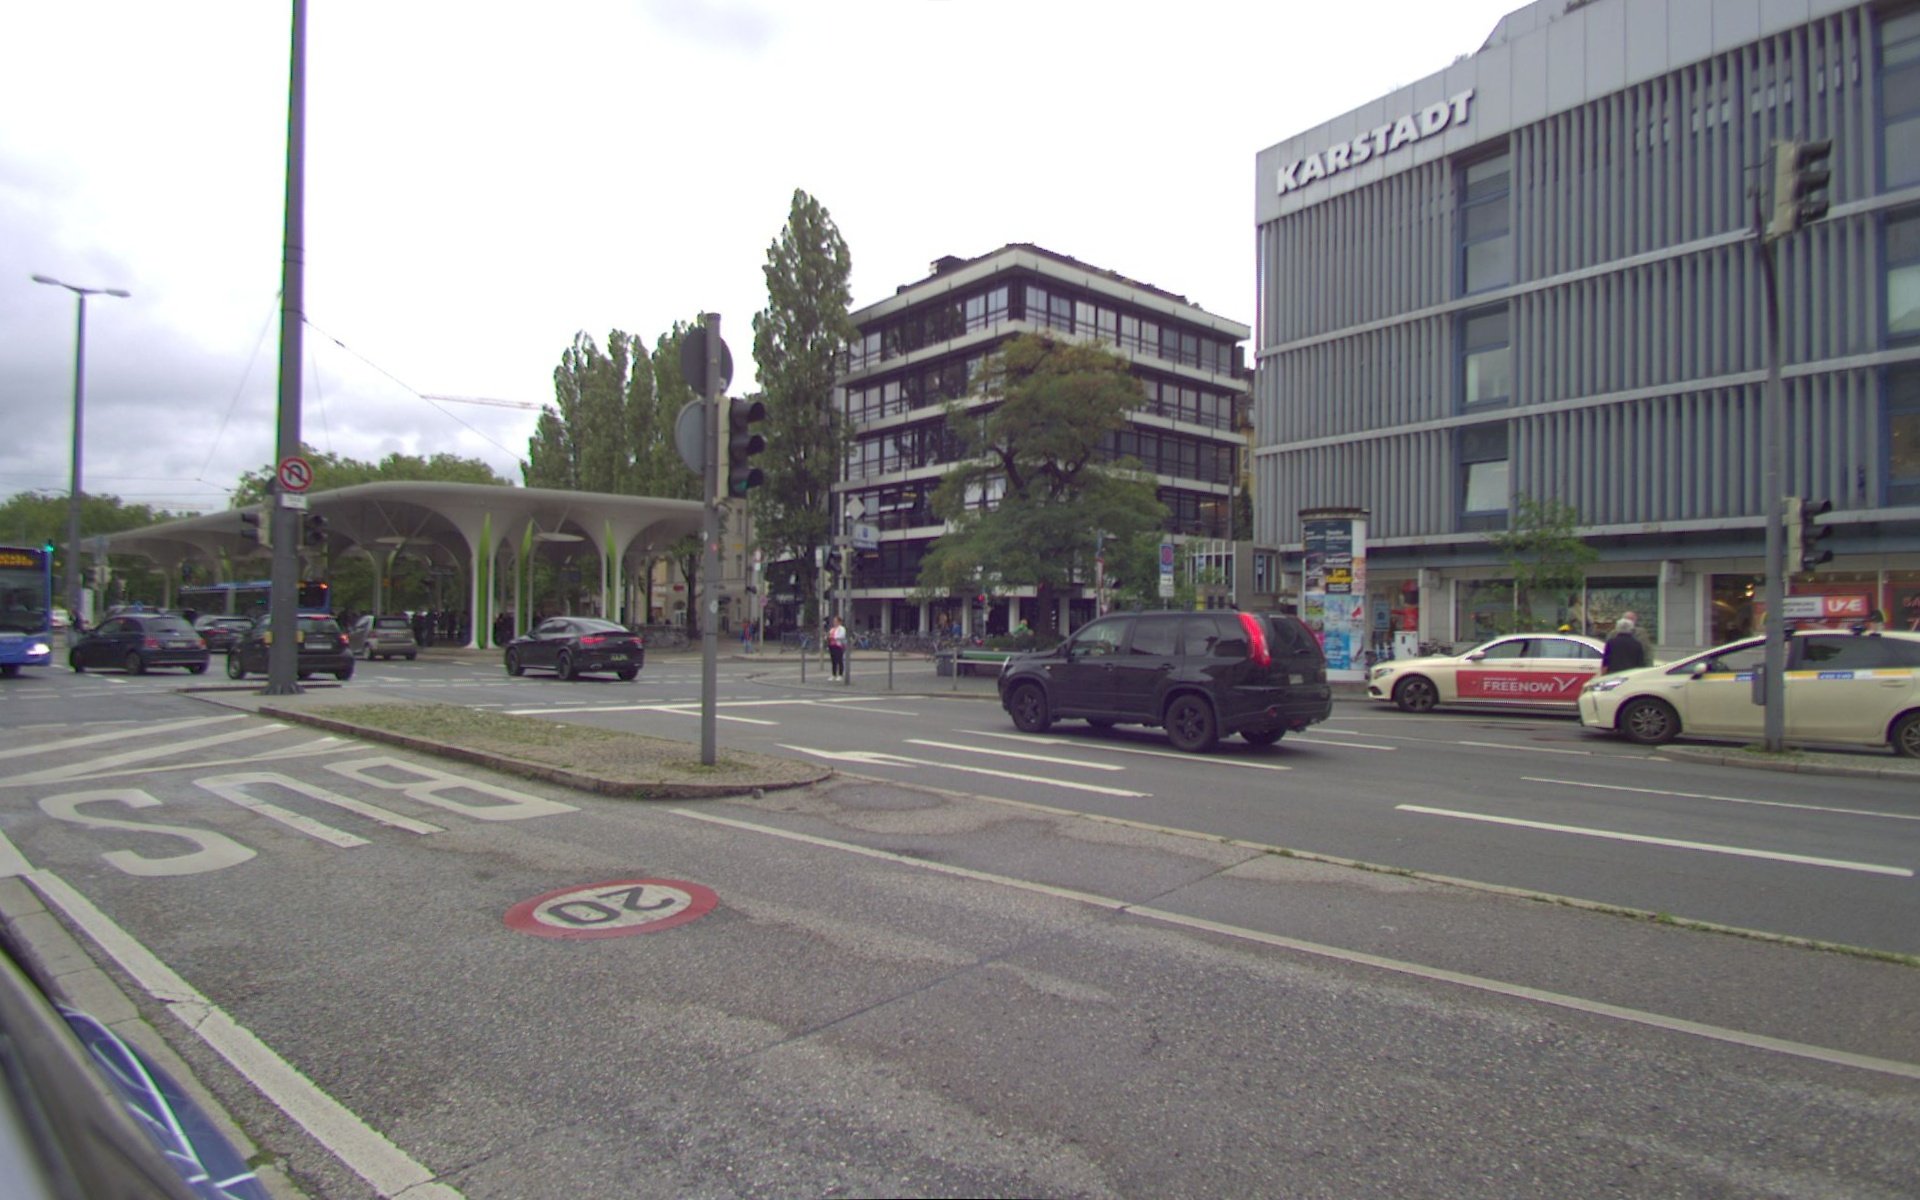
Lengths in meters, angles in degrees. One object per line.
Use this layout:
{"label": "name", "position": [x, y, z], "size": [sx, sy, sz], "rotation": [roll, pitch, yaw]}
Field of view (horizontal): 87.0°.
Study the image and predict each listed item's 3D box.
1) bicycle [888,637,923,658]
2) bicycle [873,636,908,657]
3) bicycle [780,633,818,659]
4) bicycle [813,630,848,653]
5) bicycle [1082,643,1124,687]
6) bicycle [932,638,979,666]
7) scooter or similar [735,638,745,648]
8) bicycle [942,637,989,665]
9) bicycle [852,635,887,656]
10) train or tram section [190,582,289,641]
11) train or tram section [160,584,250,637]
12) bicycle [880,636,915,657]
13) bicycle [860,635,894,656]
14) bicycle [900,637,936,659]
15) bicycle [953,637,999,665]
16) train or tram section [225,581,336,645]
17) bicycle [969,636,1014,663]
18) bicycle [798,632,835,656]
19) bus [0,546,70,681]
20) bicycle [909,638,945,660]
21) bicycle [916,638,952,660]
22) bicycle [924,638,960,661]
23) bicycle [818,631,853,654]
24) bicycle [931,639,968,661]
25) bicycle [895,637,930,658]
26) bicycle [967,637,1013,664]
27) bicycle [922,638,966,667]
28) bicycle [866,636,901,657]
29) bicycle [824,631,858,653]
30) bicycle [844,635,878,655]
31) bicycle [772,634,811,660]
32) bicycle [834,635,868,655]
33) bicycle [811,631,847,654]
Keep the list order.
{"label": "bicycle", "position": [-2.996, 2.596, 55.708], "size": [2.044, 1.142, 0.562], "rotation": [2, -2, -43]}
{"label": "bicycle", "position": [-3.868, 2.594, 56.612], "size": [2.044, 1.142, 0.562], "rotation": [2, -2, -43]}
{"label": "bicycle", "position": [-7.251, 2.072, 45.601], "size": [1.661, 1.106, 0.470], "rotation": [0, -2, 18]}
{"label": "bicycle", "position": [-6.392, 2.056, 49.985], "size": [1.661, 1.106, 0.470], "rotation": [0, -2, 18]}
{"label": "bicycle", "position": [3.484, 1.565, 24.622], "size": [0.419, 1.024, 1.281], "rotation": [-1, -2, 39]}
{"label": "bicycle", "position": [-0.185, 1.932, 37.815], "size": [1.925, 1.006, 0.503], "rotation": [-1, -2, 43]}
{"label": "scooter or similar", "position": [-16.514, 3.208, 76.014], "size": [0.511, 0.720, 0.681], "rotation": [2, -2, -38]}
{"label": "bicycle", "position": [0.205, 1.930, 38.213], "size": [1.925, 1.006, 0.503], "rotation": [-1, -2, 43]}
{"label": "bicycle", "position": [-5.161, 2.592, 57.922], "size": [2.044, 1.142, 0.562], "rotation": [2, -2, -43]}
{"label": "train or tram section", "position": [-39.612, 0.675, 55.555], "size": [7.404, 3.024, 2.803], "rotation": [-1, -2, 41]}
{"label": "train or tram section", "position": [-45.147, 0.669, 60.467], "size": [7.404, 3.024, 2.803], "rotation": [-1, -2, 41]}
{"label": "bicycle", "position": [-3.460, 2.595, 56.192], "size": [2.044, 1.142, 0.562], "rotation": [2, -2, -43]}
{"label": "bicycle", "position": [-4.713, 2.592, 57.493], "size": [2.044, 1.142, 0.562], "rotation": [2, -2, -43]}
{"label": "bicycle", "position": [-2.256, 2.598, 54.726], "size": [2.044, 1.142, 0.562], "rotation": [2, -2, -43]}
{"label": "bicycle", "position": [0.600, 1.928, 38.699], "size": [1.925, 1.006, 0.503], "rotation": [-1, -2, 43]}
{"label": "train or tram section", "position": [-34.082, 0.677, 50.651], "size": [7.404, 3.024, 2.803], "rotation": [-1, -2, 41]}
{"label": "bicycle", "position": [1.220, 1.923, 39.817], "size": [1.925, 1.006, 0.503], "rotation": [-1, -2, 43]}
{"label": "bicycle", "position": [-6.793, 2.064, 47.921], "size": [1.661, 1.106, 0.470], "rotation": [0, -2, 18]}
{"label": "bus", "position": [-25.696, 0.287, 25.113], "size": [11.188, 2.966, 2.908], "rotation": [0, 0, 35]}
{"label": "bicycle", "position": [-1.752, 2.599, 54.224], "size": [2.044, 1.142, 0.562], "rotation": [2, -2, -43]}
{"label": "bicycle", "position": [-1.382, 2.600, 53.742], "size": [2.044, 1.142, 0.562], "rotation": [2, -2, -43]}
{"label": "bicycle", "position": [-0.964, 2.600, 53.306], "size": [2.044, 1.142, 0.562], "rotation": [2, -2, -43]}
{"label": "bicycle", "position": [-6.272, 2.123, 50.925], "size": [1.655, 1.106, 0.472], "rotation": [0, -2, 8]}
{"label": "bicycle", "position": [-0.537, 2.601, 52.861], "size": [2.044, 1.142, 0.562], "rotation": [2, -2, -43]}
{"label": "bicycle", "position": [-2.587, 2.596, 55.244], "size": [2.044, 1.142, 0.562], "rotation": [2, -2, -43]}
{"label": "bicycle", "position": [1.150, 1.926, 38.932], "size": [1.925, 1.006, 0.503], "rotation": [-1, -2, 43]}
{"label": "bicycle", "position": [-0.586, 1.933, 37.327], "size": [1.751, 1.006, 0.503], "rotation": [-1, -2, 43]}
{"label": "bicycle", "position": [-4.294, 2.593, 57.042], "size": [2.044, 1.142, 0.562], "rotation": [2, -2, -43]}
{"label": "bicycle", "position": [-6.136, 2.142, 52.190], "size": [1.655, 1.106, 0.472], "rotation": [0, -2, 8]}
{"label": "bicycle", "position": [-5.703, 2.591, 58.422], "size": [2.044, 1.142, 0.562], "rotation": [2, -2, -43]}
{"label": "bicycle", "position": [-7.459, 2.075, 44.823], "size": [1.661, 1.106, 0.470], "rotation": [0, -2, 18]}
{"label": "bicycle", "position": [-6.323, 2.590, 58.990], "size": [2.044, 1.142, 0.562], "rotation": [2, -2, -43]}
{"label": "bicycle", "position": [-6.386, 2.059, 49.270], "size": [1.661, 1.106, 0.470], "rotation": [0, -2, 18]}
